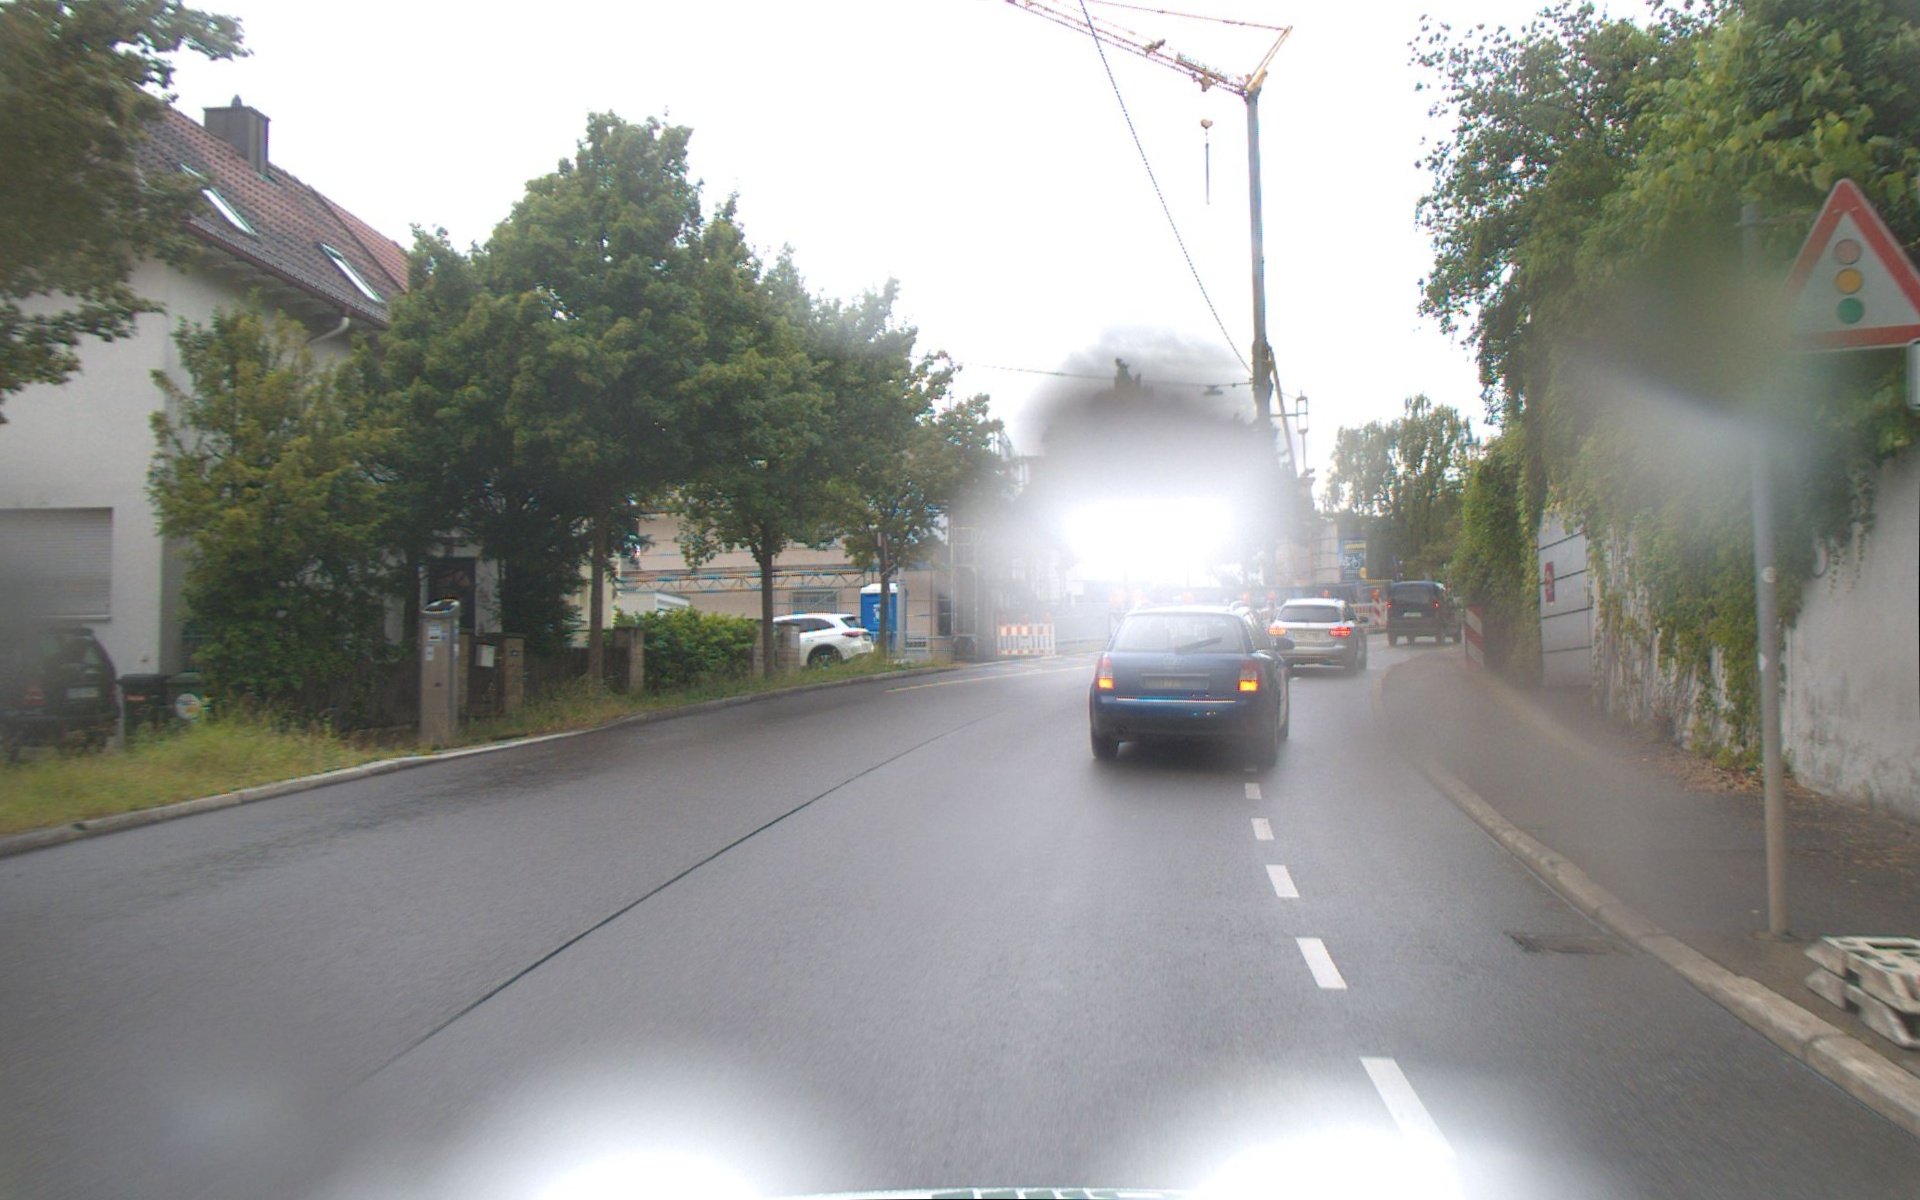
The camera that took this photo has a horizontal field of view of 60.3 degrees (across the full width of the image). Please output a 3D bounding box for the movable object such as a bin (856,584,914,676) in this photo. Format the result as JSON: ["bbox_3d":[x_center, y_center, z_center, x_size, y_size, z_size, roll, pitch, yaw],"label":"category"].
[{"bbox_3d":[-2.120,0.845,47.118,1.284,2.549,1.387,-2,0,12],"label":"movable object such as a bin"}]

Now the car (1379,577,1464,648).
[{"bbox_3d":[13.860,0.337,49.500,1.696,1.927,4.053,-4,-1,25],"label":"car"}]

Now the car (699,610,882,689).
[{"bbox_3d":[-4.220,1.235,41.538,4.108,1.632,1.952,-5,-2,10],"label":"car"}]

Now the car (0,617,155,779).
[{"bbox_3d":[-11.246,0.974,18.196,3.856,1.570,1.865,3,0,9],"label":"car"}]

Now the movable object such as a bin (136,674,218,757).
[{"bbox_3d":[-9.393,1.373,19.855,0.655,0.937,0.592,1,0,9],"label":"movable object such as a bin"}]

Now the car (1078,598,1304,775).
[{"bbox_3d":[2.380,0.731,16.187,1.739,1.464,4.003,1,0,14],"label":"car"}]

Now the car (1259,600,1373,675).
[{"bbox_3d":[7.234,0.708,33.347,1.868,1.413,4.353,0,0,17],"label":"car"}]
